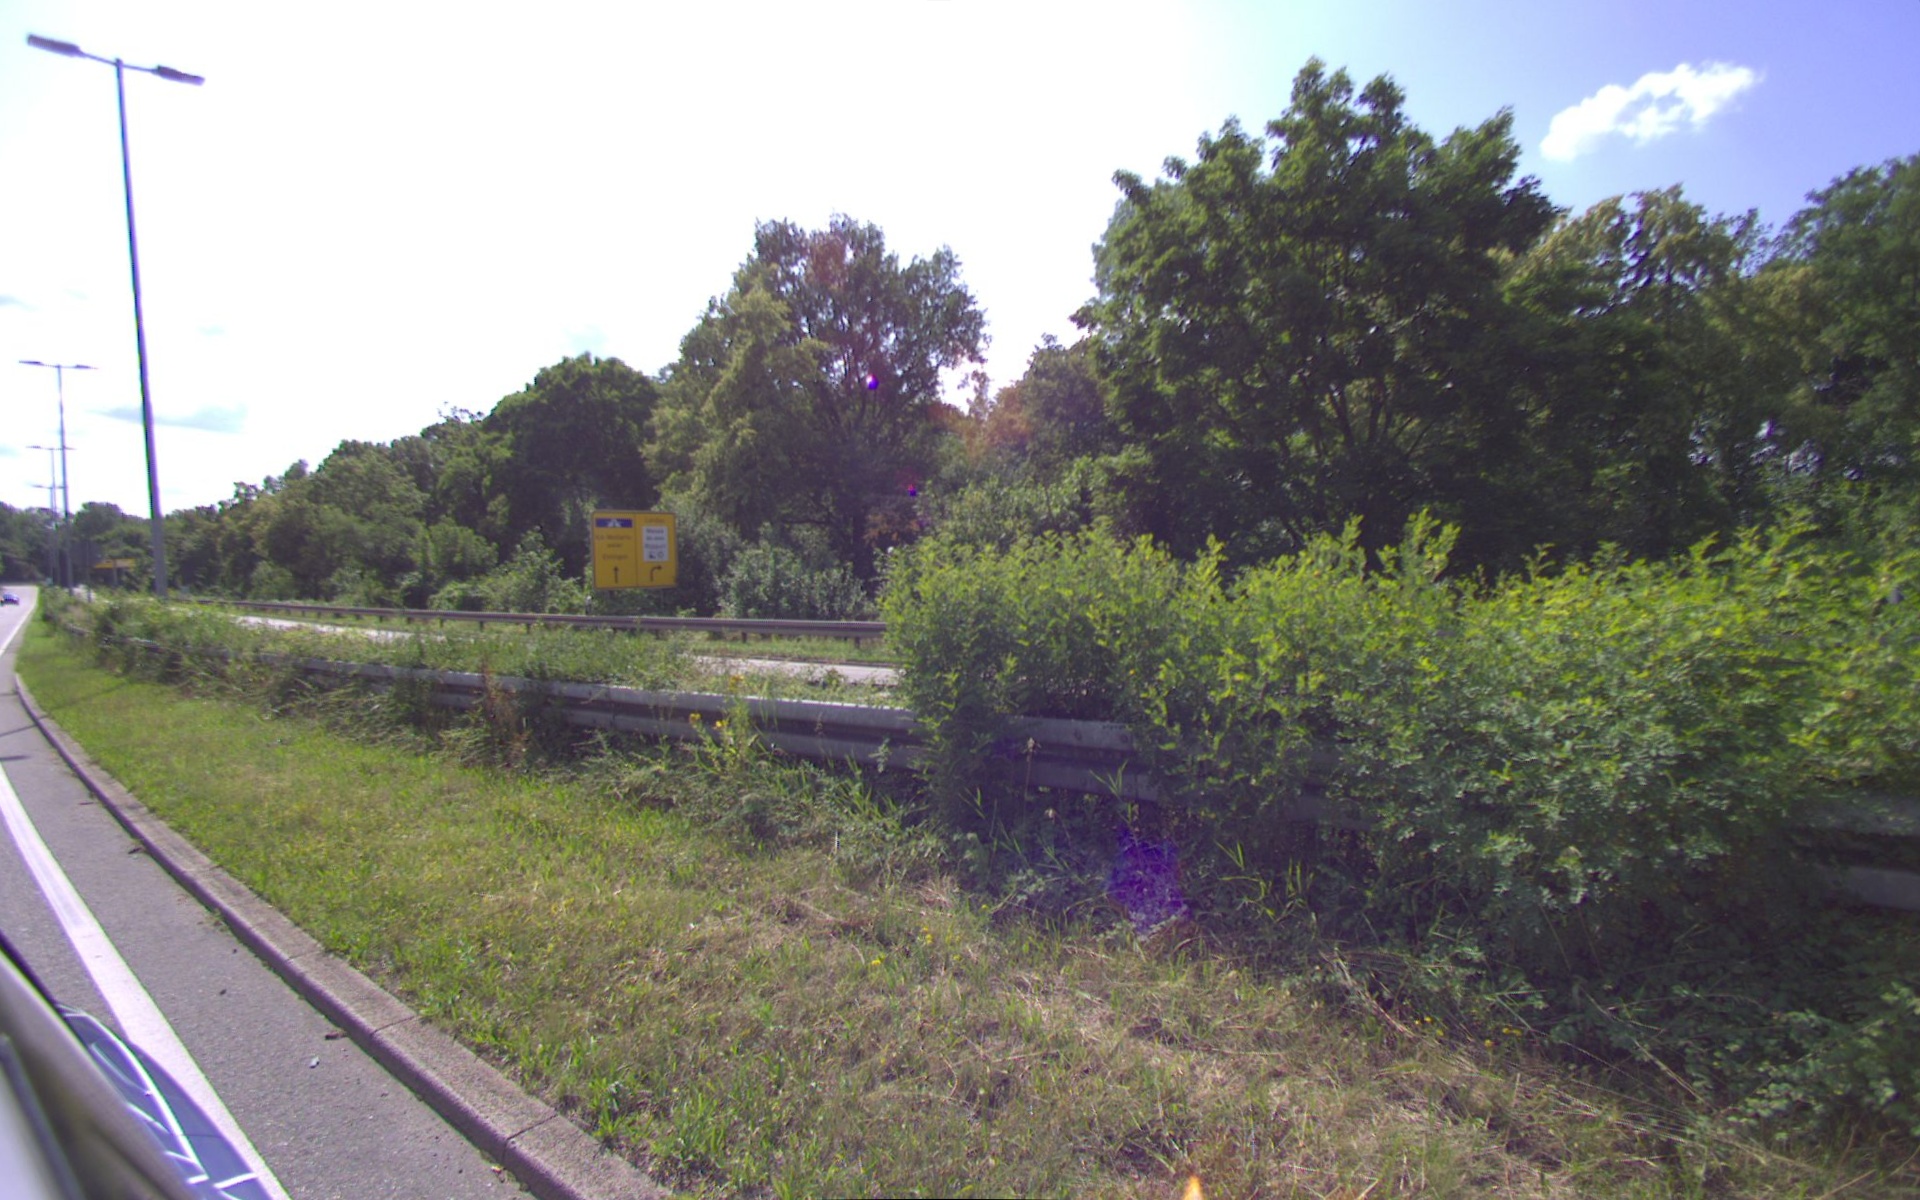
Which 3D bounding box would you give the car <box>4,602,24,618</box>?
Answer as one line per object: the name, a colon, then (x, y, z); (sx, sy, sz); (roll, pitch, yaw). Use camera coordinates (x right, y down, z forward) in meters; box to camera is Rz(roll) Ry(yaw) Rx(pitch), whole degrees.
car: (-124.865, 1.308, 133.573); (1.949, 2.029, 4.004); (-1, 0, -44)
